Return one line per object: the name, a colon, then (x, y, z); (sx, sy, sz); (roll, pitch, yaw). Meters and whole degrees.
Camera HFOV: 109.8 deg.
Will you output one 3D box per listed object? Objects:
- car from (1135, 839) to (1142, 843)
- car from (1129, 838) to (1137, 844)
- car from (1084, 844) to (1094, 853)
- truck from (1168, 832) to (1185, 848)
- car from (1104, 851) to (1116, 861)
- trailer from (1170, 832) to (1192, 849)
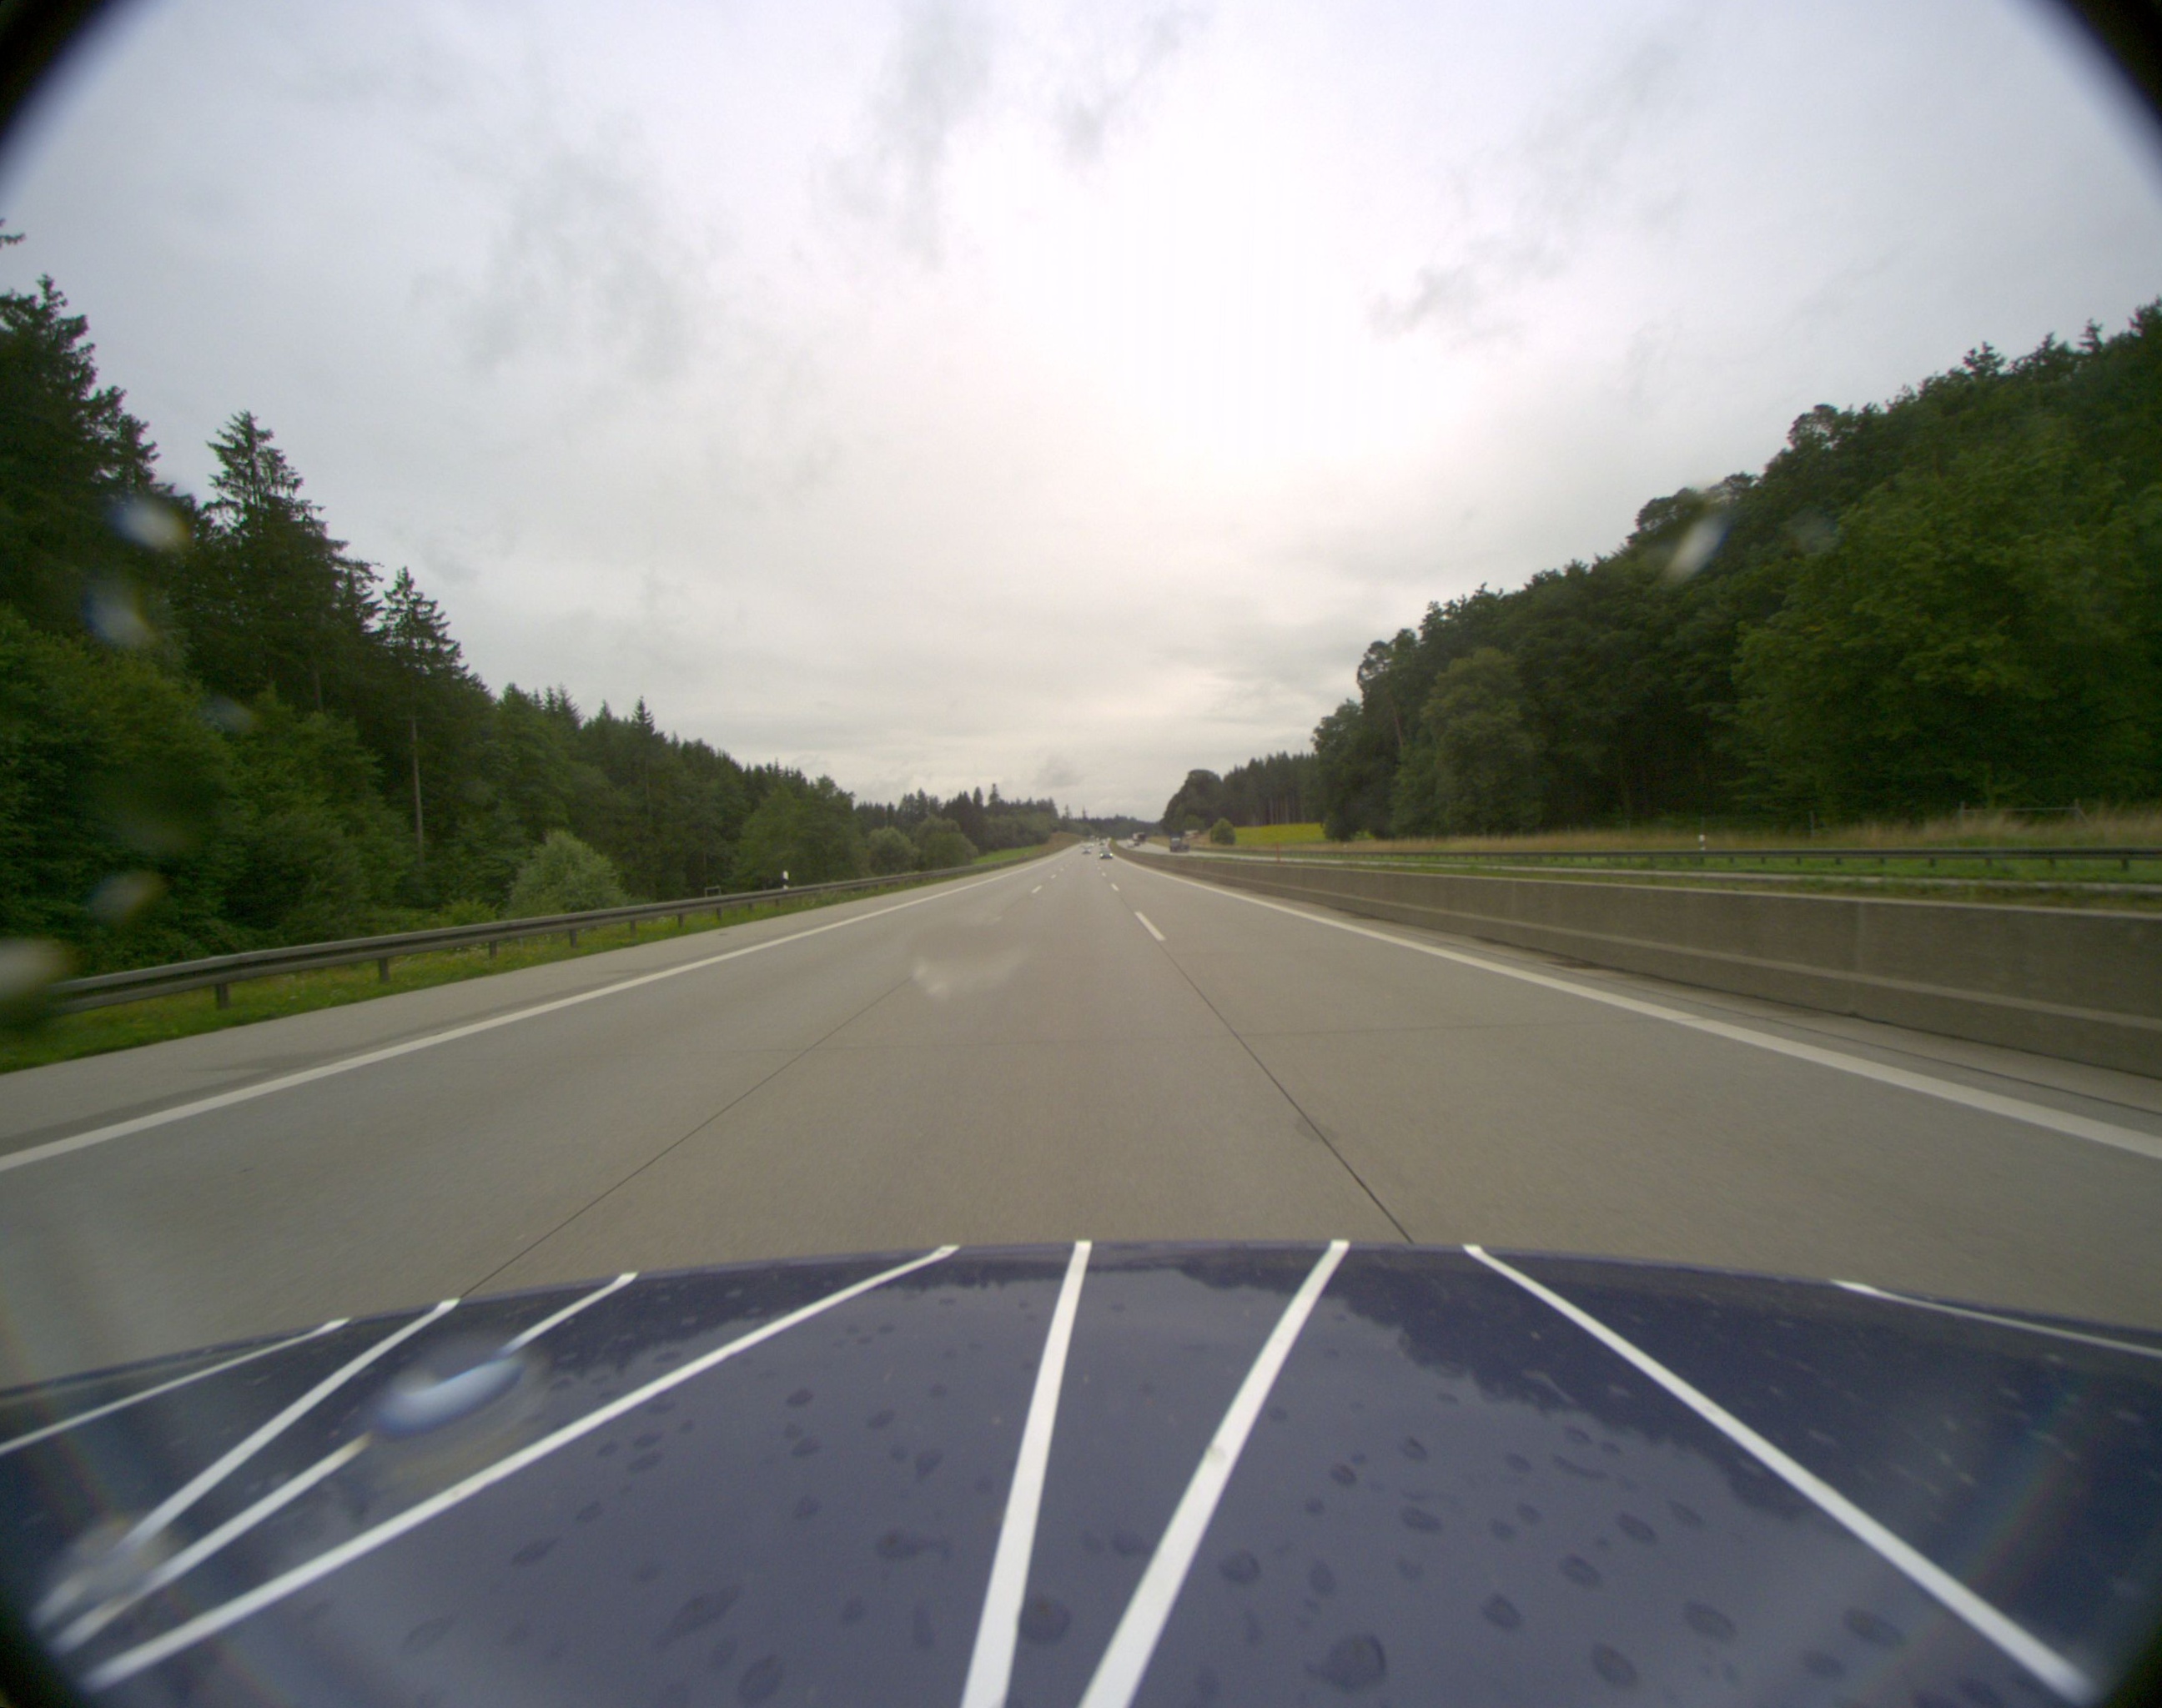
car: (19.580, -4.349, 257.940); (1.852, 1.369, 4.435); (-3, 1, -1)
car: (16.275, -4.043, 235.994); (2.093, 1.791, 5.496); (-3, 1, 1)
car: (1.926, -1.251, 178.093); (2.213, 2.002, 4.833); (-3, 1, 0)
truck: (21.051, -3.086, 167.571); (2.763, 3.497, 6.639); (-3, 1, 1)
car: (4.490, 0.303, 118.950); (1.766, 1.455, 4.001); (-3, 0, 2)
trailer: (20.972, -2.879, 160.206); (2.792, 3.488, 13.882); (-3, 1, 1)
